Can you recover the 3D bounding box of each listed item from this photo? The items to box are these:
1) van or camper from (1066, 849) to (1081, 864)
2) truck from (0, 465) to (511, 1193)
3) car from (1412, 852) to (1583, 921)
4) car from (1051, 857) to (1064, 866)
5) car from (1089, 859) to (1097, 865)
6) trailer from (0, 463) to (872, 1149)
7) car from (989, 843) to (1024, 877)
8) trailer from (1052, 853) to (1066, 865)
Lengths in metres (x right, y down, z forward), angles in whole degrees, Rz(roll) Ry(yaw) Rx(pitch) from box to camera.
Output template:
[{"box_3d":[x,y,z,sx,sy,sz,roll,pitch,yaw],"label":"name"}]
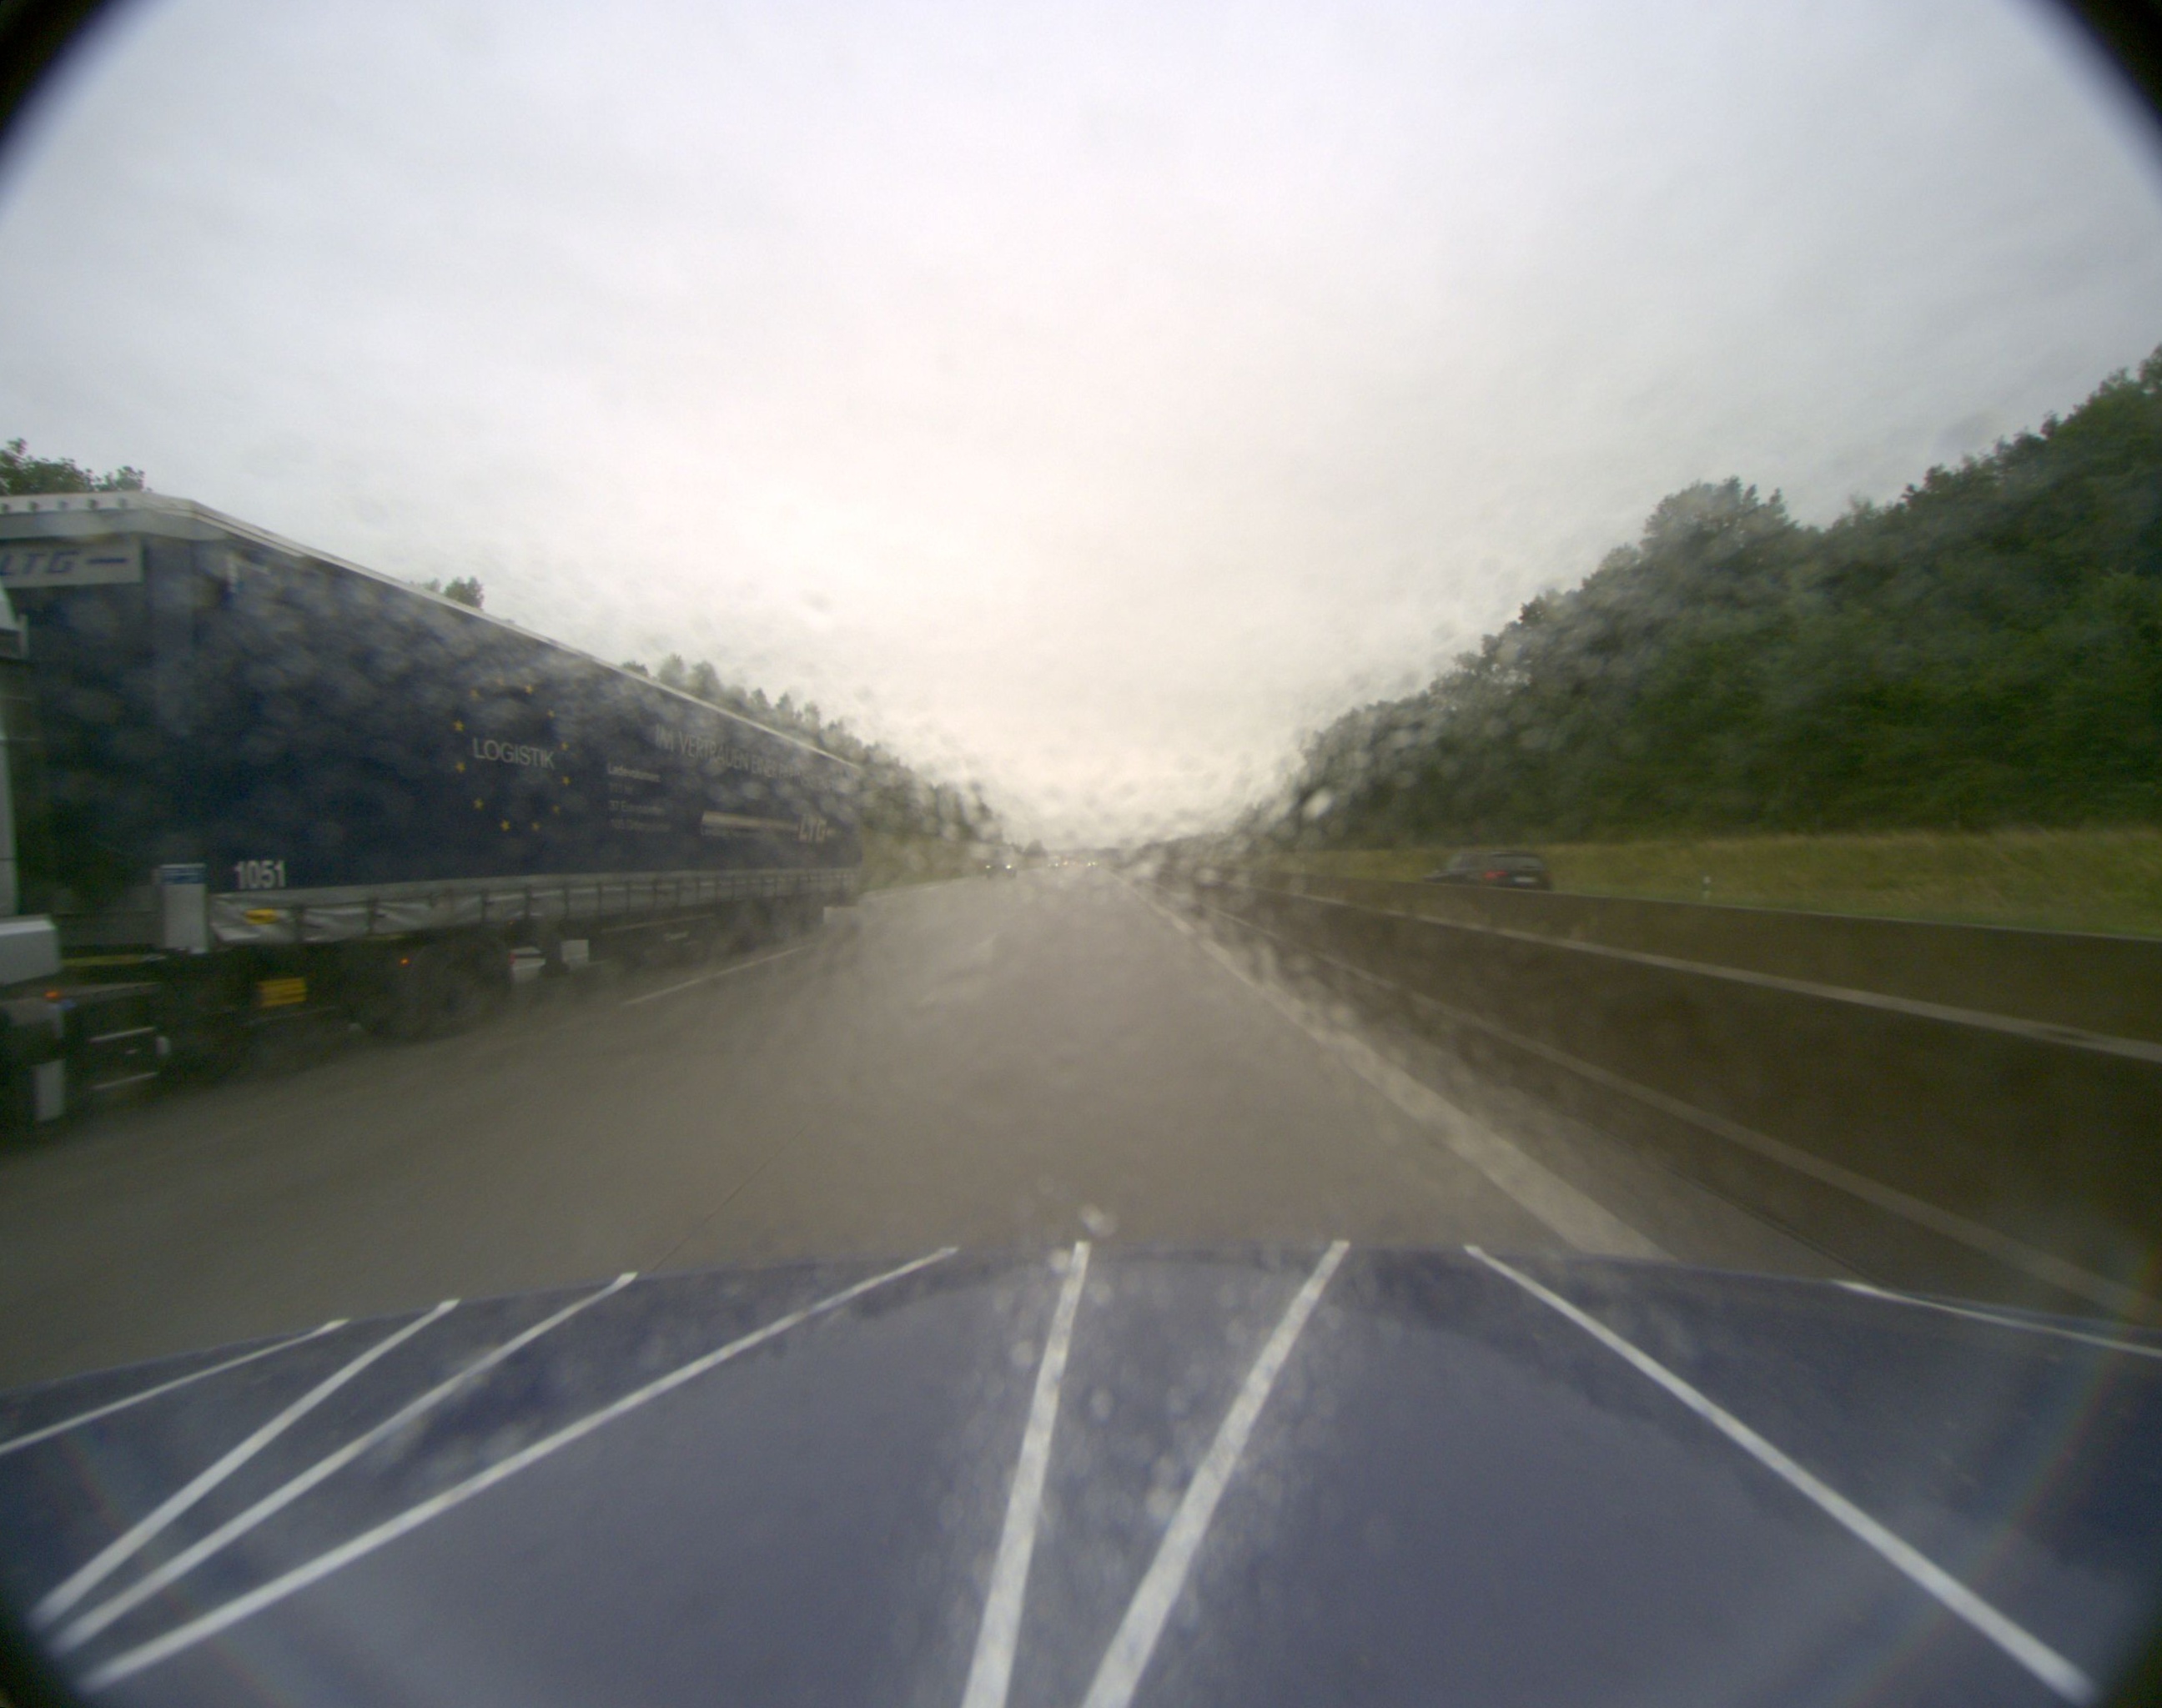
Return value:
[{"box_3d":[-1.229,0.374,130.569,2.233,2.537,7.950,0,0,2],"label":"van or camper"},{"box_3d":[-7.135,-0.108,4.732,2.643,3.931,5.686,-2,0,1],"label":"truck"},{"box_3d":[10.757,0.756,20.125,1.973,1.600,4.852,0,0,2],"label":"car"},{"box_3d":[-4.607,1.411,148.388,1.998,1.575,5.954,-3,-1,2],"label":"car"},{"box_3d":[2.754,1.808,170.232,1.733,1.450,4.673,-1,-1,1],"label":"car"},{"box_3d":[-7.063,-0.278,12.483,2.713,4.354,15.204,-2,0,1],"label":"trailer"},{"box_3d":[-6.142,0.511,63.630,1.945,2.643,6.587,-2,-1,2],"label":"car"},{"box_3d":[-4.472,1.039,154.387,2.348,2.445,5.940,0,0,2],"label":"trailer"}]
